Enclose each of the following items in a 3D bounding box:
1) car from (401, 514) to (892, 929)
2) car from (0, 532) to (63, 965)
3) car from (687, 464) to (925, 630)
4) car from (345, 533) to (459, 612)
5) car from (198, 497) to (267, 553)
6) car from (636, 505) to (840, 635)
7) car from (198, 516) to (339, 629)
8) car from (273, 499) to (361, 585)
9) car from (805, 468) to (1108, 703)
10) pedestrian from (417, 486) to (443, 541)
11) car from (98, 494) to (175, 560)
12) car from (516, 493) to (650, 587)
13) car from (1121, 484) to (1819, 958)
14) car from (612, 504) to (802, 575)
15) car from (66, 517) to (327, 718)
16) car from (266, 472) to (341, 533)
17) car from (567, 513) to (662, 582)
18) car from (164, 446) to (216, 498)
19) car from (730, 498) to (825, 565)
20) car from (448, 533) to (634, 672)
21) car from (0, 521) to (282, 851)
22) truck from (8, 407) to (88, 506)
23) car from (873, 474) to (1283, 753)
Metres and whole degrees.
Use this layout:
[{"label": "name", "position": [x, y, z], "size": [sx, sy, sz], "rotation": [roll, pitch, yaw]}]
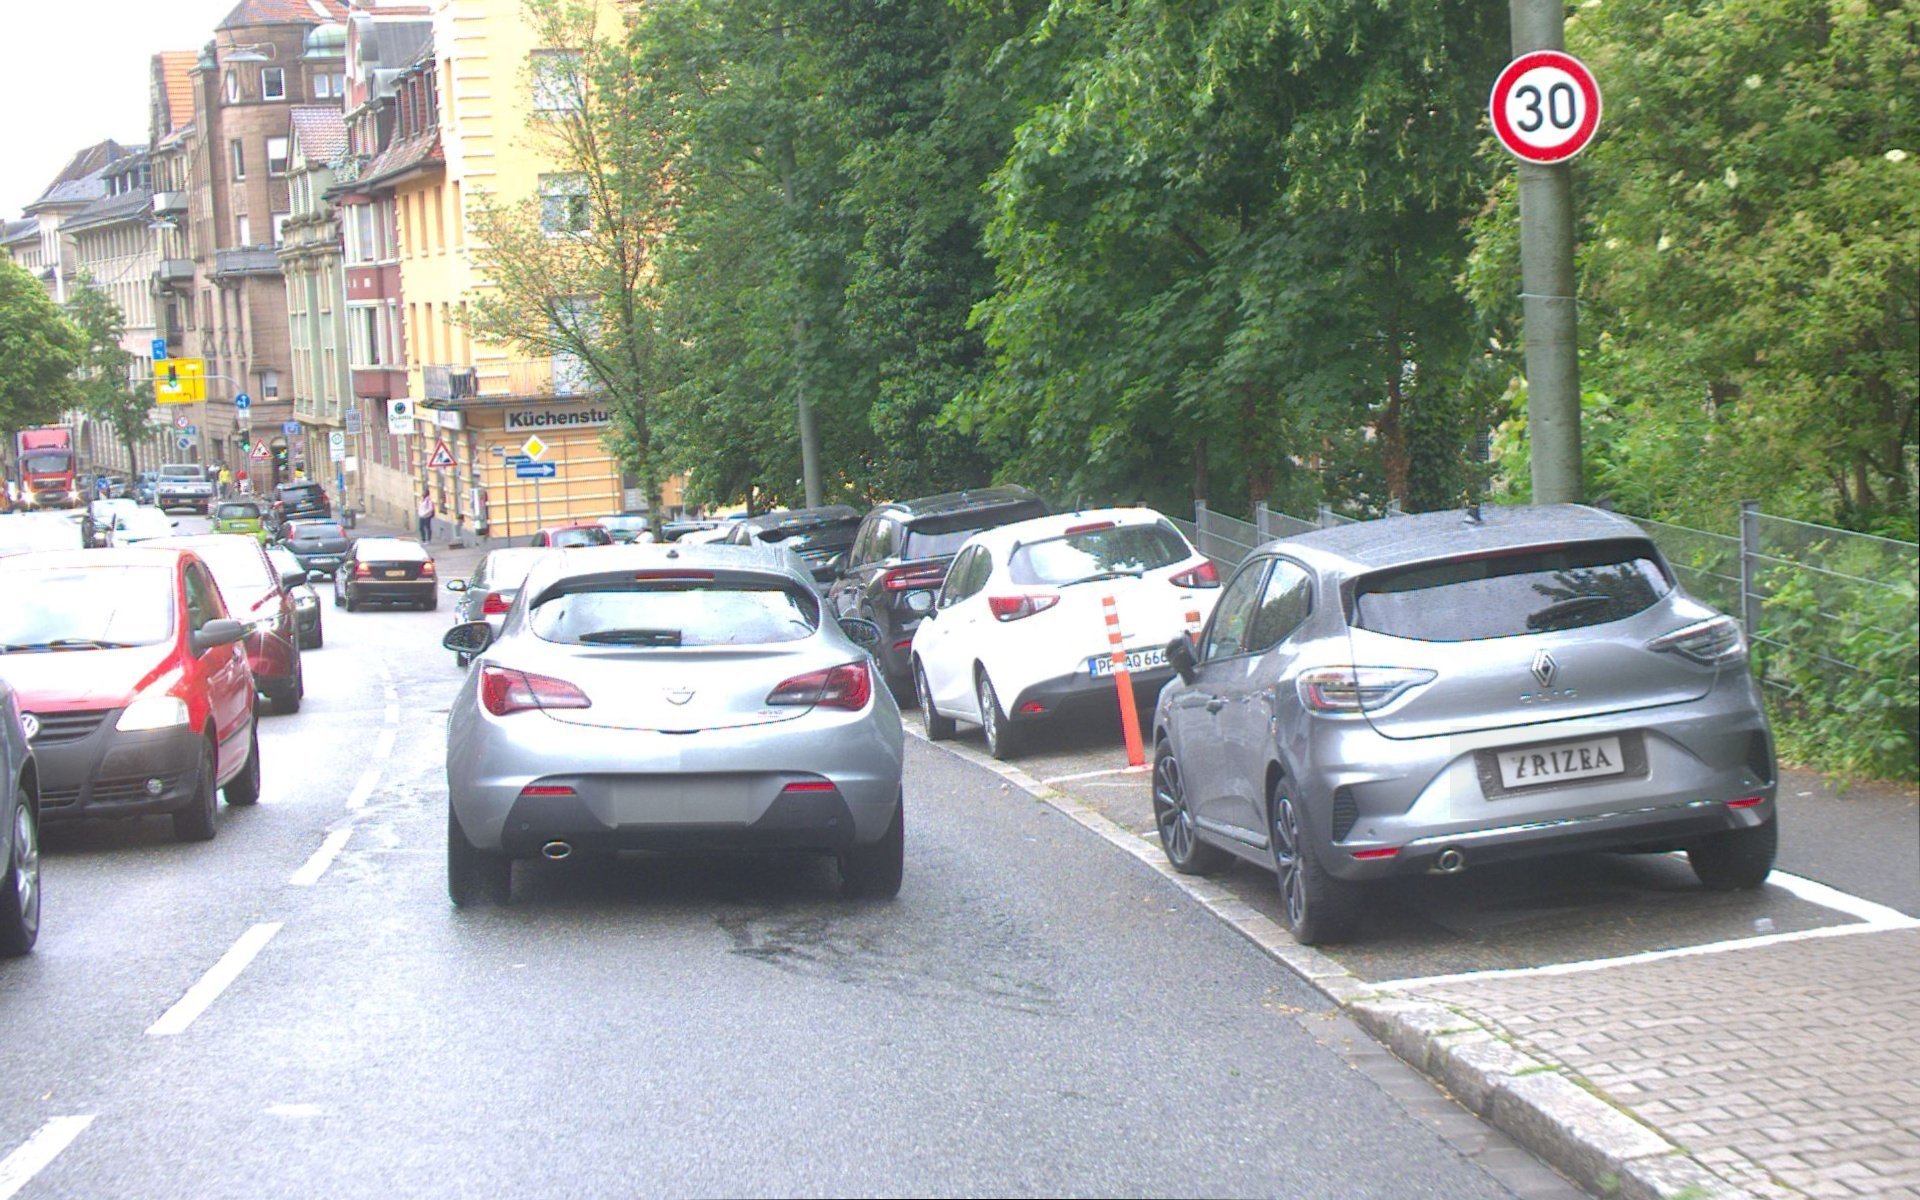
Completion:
[{"label": "car", "position": [-1.408, 0.411, 15.081], "size": [1.814, 1.424, 4.001], "rotation": [-2, 3, -6]}, {"label": "car", "position": [-4.146, 0.568, 11.000], "size": [1.773, 1.492, 4.264], "rotation": [-3, 1, -6]}, {"label": "car", "position": [-1.823, -0.592, 39.159], "size": [1.975, 1.603, 4.486], "rotation": [-5, 1, -10]}, {"label": "car", "position": [-10.754, -0.547, 66.094], "size": [1.767, 1.410, 3.718], "rotation": [-1, 2, -15]}, {"label": "car", "position": [-21.347, -2.196, 100.831], "size": [1.639, 1.531, 3.718], "rotation": [-3, 2, -16]}, {"label": "car", "position": [-2.964, -0.393, 45.046], "size": [1.975, 1.447, 4.115], "rotation": [-5, 1, -12]}, {"label": "car", "position": [-9.977, -0.425, 49.842], "size": [1.737, 1.468, 4.283], "rotation": [-4, 2, -9]}, {"label": "car", "position": [-15.149, -1.396, 80.858], "size": [1.639, 1.683, 3.719], "rotation": [-3, 6, -15]}, {"label": "car", "position": [-0.130, -0.182, 29.145], "size": [1.821, 1.677, 4.805], "rotation": [-5, 2, -7]}, {"label": "pedestrian", "position": [-14.970, -2.448, 97.100], "size": [0.613, 1.491, 0.553], "rotation": [-3, 4, -12]}, {"label": "car", "position": [-22.486, -1.997, 94.001], "size": [1.822, 1.645, 4.001], "rotation": [-4, 2, -12]}, {"label": "car", "position": [-7.015, -1.098, 63.698], "size": [1.814, 1.462, 4.001], "rotation": [-7, 2, -13]}, {"label": "car", "position": [1.787, 0.357, 13.281], "size": [1.649, 1.399, 3.814], "rotation": [-6, 2, -6]}, {"label": "car", "position": [-5.454, -1.292, 74.058], "size": [3.772, 1.425, 1.782], "rotation": [1, 0, -16]}, {"label": "car", "position": [-6.998, 0.098, 31.914], "size": [1.845, 1.578, 4.280], "rotation": [-5, 2, -7]}, {"label": "car", "position": [-21.620, -3.178, 113.095], "size": [1.993, 1.683, 4.001], "rotation": [-8, 3, -14]}, {"label": "car", "position": [-8.100, -1.251, 80.885], "size": [1.776, 1.424, 3.786], "rotation": [-1, 3, 1]}, {"label": "car", "position": [-30.206, -5.003, 134.737], "size": [1.781, 1.848, 4.001], "rotation": [-2, 1, -15]}, {"label": "car", "position": [-4.403, -1.687, 83.443], "size": [1.776, 1.424, 3.786], "rotation": [-1, 4, 5]}, {"label": "car", "position": [-4.707, -0.002, 38.235], "size": [1.775, 1.425, 3.787], "rotation": [-1, 1, -11]}, {"label": "car", "position": [-4.768, 0.386, 18.709], "size": [1.654, 1.563, 4.001], "rotation": [-2, 2, -5]}, {"label": "truck", "position": [-41.388, -6.573, 155.815], "size": [2.788, 4.117, 10.857], "rotation": [-3, 4, -17]}, {"label": "car", "position": [0.694, 0.070, 23.326], "size": [1.815, 1.489, 4.001], "rotation": [-8, 2, -10]}]
